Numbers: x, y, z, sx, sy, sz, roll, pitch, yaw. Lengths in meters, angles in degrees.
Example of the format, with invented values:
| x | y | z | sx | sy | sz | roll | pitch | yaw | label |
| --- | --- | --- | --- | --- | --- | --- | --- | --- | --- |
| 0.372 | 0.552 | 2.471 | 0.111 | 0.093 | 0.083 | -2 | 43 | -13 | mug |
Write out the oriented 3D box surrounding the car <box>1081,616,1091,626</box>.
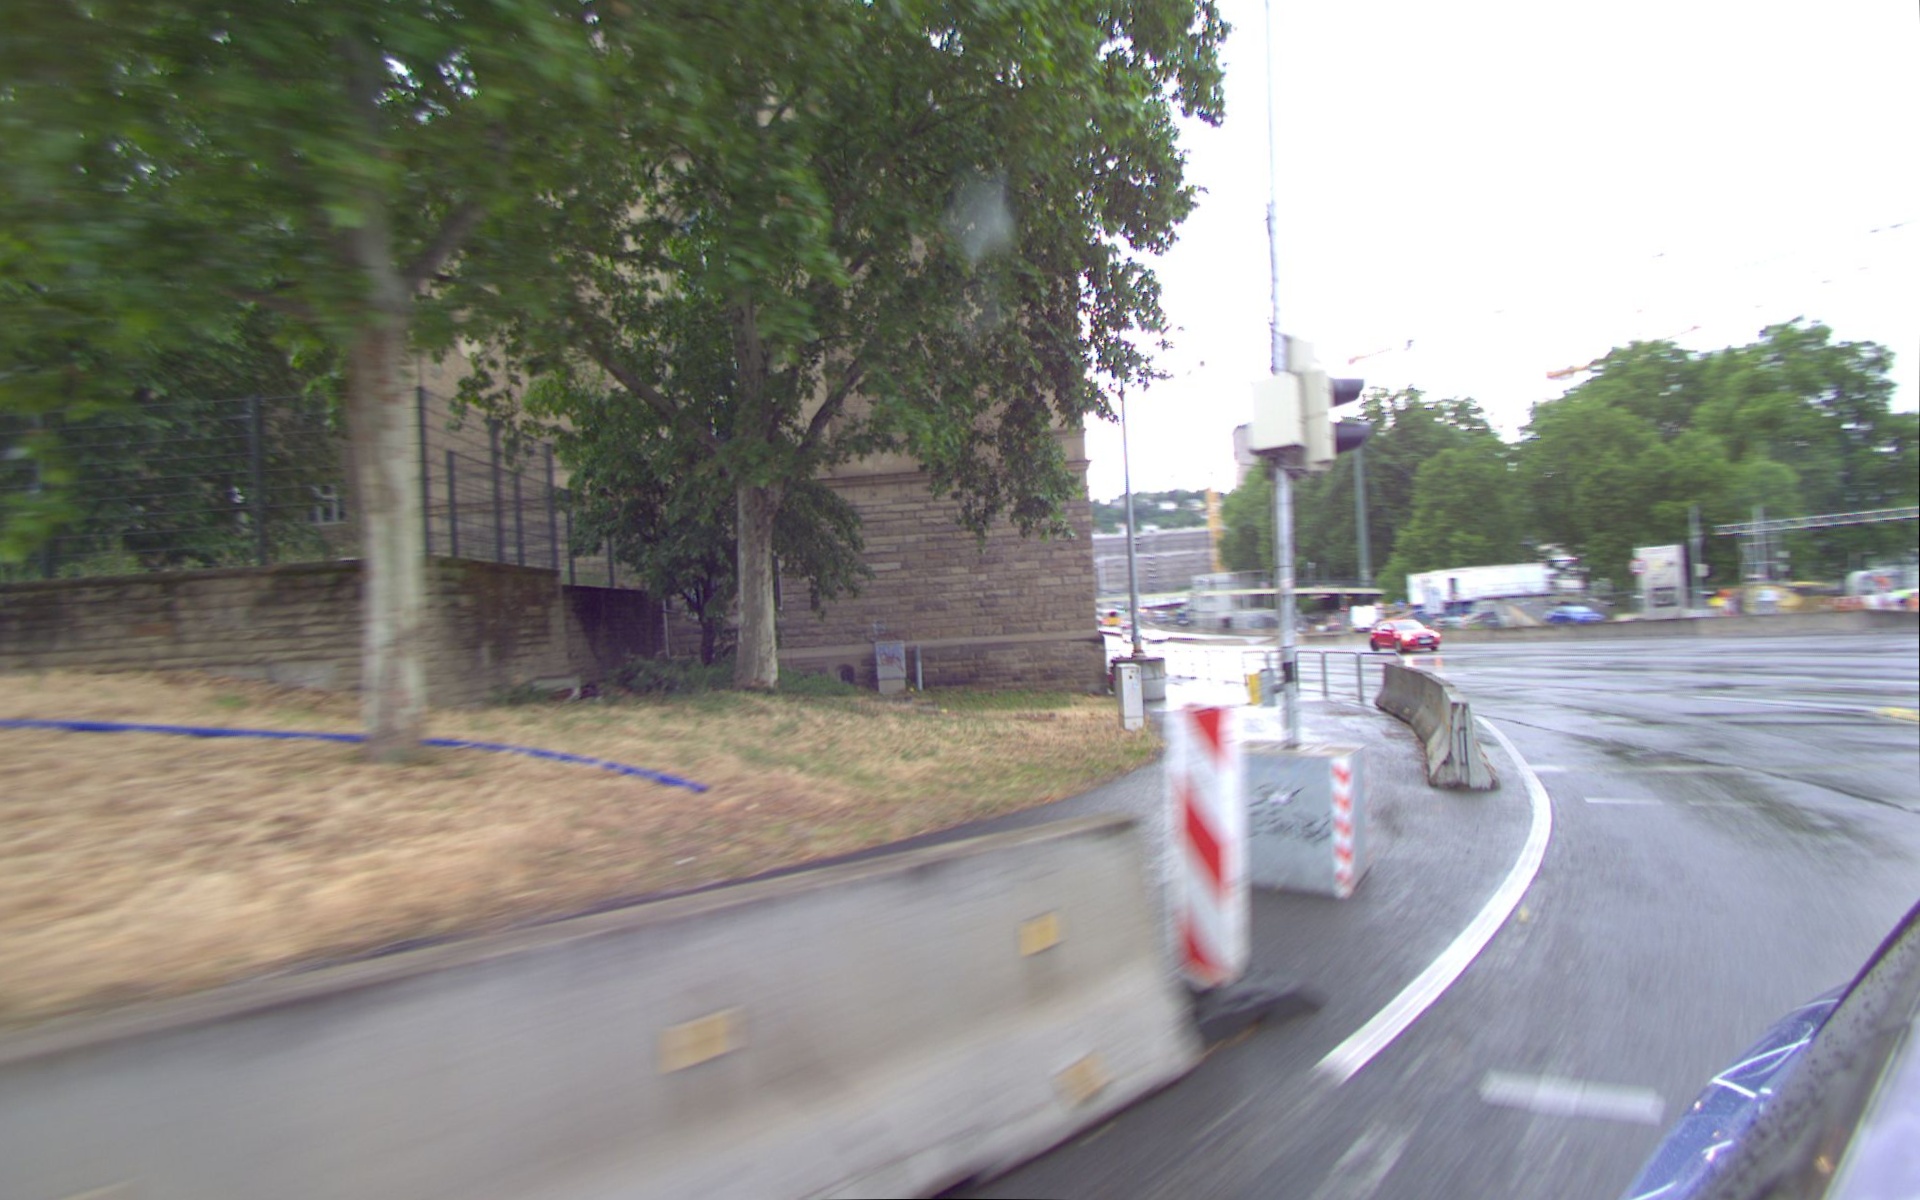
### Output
| x | y | z | sx | sy | sz | roll | pitch | yaw | label |
| --- | --- | --- | --- | --- | --- | --- | --- | --- | --- |
| 28.758 | 4.731 | 230.977 | 1.964 | 2.040 | 3.995 | -4 | -2 | 3 | car |

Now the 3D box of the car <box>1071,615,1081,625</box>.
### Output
| x | y | z | sx | sy | sz | roll | pitch | yaw | label |
| --- | --- | --- | --- | --- | --- | --- | --- | --- | --- |
| 26.946 | 4.663 | 235.791 | 1.964 | 2.040 | 3.995 | -4 | -2 | 3 | car |

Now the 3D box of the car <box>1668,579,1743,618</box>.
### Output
| x | y | z | sx | sy | sz | roll | pitch | yaw | label |
| --- | --- | --- | --- | --- | --- | --- | --- | --- | --- |
| 51.311 | -0.067 | 69.737 | 1.962 | 2.415 | 3.998 | -4 | -2 | 0 | car |

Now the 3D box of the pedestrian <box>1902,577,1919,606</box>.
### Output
| x | y | z | sx | sy | sz | roll | pitch | yaw | label |
| --- | --- | --- | --- | --- | --- | --- | --- | --- | --- |
| 46.146 | -0.432 | 48.704 | 0.732 | 1.370 | 0.836 | -4 | -3 | 5 | pedestrian |

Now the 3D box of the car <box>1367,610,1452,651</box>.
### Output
| x | y | z | sx | sy | sz | roll | pitch | yaw | label |
| --- | --- | --- | --- | --- | --- | --- | --- | --- | --- |
| 19.524 | 1.359 | 44.156 | 1.658 | 1.572 | 4.000 | -4 | -2 | -3 | car |

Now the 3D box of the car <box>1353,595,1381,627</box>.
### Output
| x | y | z | sx | sy | sz | roll | pitch | yaw | label |
| --- | --- | --- | --- | --- | --- | --- | --- | --- | --- |
| 37.482 | 1.023 | 93.119 | 2.057 | 2.773 | 4.555 | -5 | -3 | 23 | car |

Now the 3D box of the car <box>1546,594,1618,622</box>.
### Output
| x | y | z | sx | sy | sz | roll | pitch | yaw | label |
| --- | --- | --- | --- | --- | --- | --- | --- | --- | --- |
| 38.328 | 0.500 | 62.509 | 1.809 | 1.509 | 4.433 | -4 | -2 | 4 | car |

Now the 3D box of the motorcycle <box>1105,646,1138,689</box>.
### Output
| x | y | z | sx | sy | sz | roll | pitch | yaw | label |
| --- | --- | --- | --- | --- | --- | --- | --- | --- | --- |
| 4.593 | 1.903 | 28.830 | 0.538 | 1.153 | 1.898 | -4 | -2 | -1 | motorcycle |

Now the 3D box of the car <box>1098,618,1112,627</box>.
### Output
| x | y | z | sx | sy | sz | roll | pitch | yaw | label |
| --- | --- | --- | --- | --- | --- | --- | --- | --- | --- |
| 27.632 | 4.250 | 192.946 | 1.806 | 1.596 | 4.439 | -4 | -2 | -2 | car |

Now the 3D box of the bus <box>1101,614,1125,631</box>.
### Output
| x | y | z | sx | sy | sz | roll | pitch | yaw | label |
| --- | --- | --- | --- | --- | --- | --- | --- | --- | --- |
| 30.562 | 4.583 | 202.304 | 3.211 | 2.978 | 8.950 | -6 | -2 | -1 | bus |

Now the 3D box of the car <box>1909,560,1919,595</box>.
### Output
| x | y | z | sx | sy | sz | roll | pitch | yaw | label |
| --- | --- | --- | --- | --- | --- | --- | --- | --- | --- |
| 68.108 | -1.686 | 69.258 | 1.960 | 2.415 | 4.003 | -2 | -3 | -27 | car |

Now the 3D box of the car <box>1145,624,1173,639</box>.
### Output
| x | y | z | sx | sy | sz | roll | pitch | yaw | label |
| --- | --- | --- | --- | --- | --- | --- | --- | --- | --- |
| 22.172 | 3.535 | 112.941 | 1.951 | 1.596 | 4.439 | -4 | -2 | -2 | car |

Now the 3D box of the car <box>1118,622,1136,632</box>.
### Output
| x | y | z | sx | sy | sz | roll | pitch | yaw | label |
| --- | --- | --- | --- | --- | --- | --- | --- | --- | --- |
| 27.318 | 4.431 | 165.842 | 1.805 | 1.596 | 4.442 | -3 | -2 | -5 | car |

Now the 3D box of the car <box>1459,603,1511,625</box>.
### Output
| x | y | z | sx | sy | sz | roll | pitch | yaw | label |
| --- | --- | --- | --- | --- | --- | --- | --- | --- | --- |
| 39.319 | 1.074 | 75.867 | 1.809 | 1.509 | 4.431 | -4 | -2 | 5 | car |

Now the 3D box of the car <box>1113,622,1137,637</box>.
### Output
| x | y | z | sx | sy | sz | roll | pitch | yaw | label |
| --- | --- | --- | --- | --- | --- | --- | --- | --- | --- |
| 20.214 | 3.624 | 124.141 | 1.951 | 1.596 | 4.439 | -4 | -2 | -2 | car |
